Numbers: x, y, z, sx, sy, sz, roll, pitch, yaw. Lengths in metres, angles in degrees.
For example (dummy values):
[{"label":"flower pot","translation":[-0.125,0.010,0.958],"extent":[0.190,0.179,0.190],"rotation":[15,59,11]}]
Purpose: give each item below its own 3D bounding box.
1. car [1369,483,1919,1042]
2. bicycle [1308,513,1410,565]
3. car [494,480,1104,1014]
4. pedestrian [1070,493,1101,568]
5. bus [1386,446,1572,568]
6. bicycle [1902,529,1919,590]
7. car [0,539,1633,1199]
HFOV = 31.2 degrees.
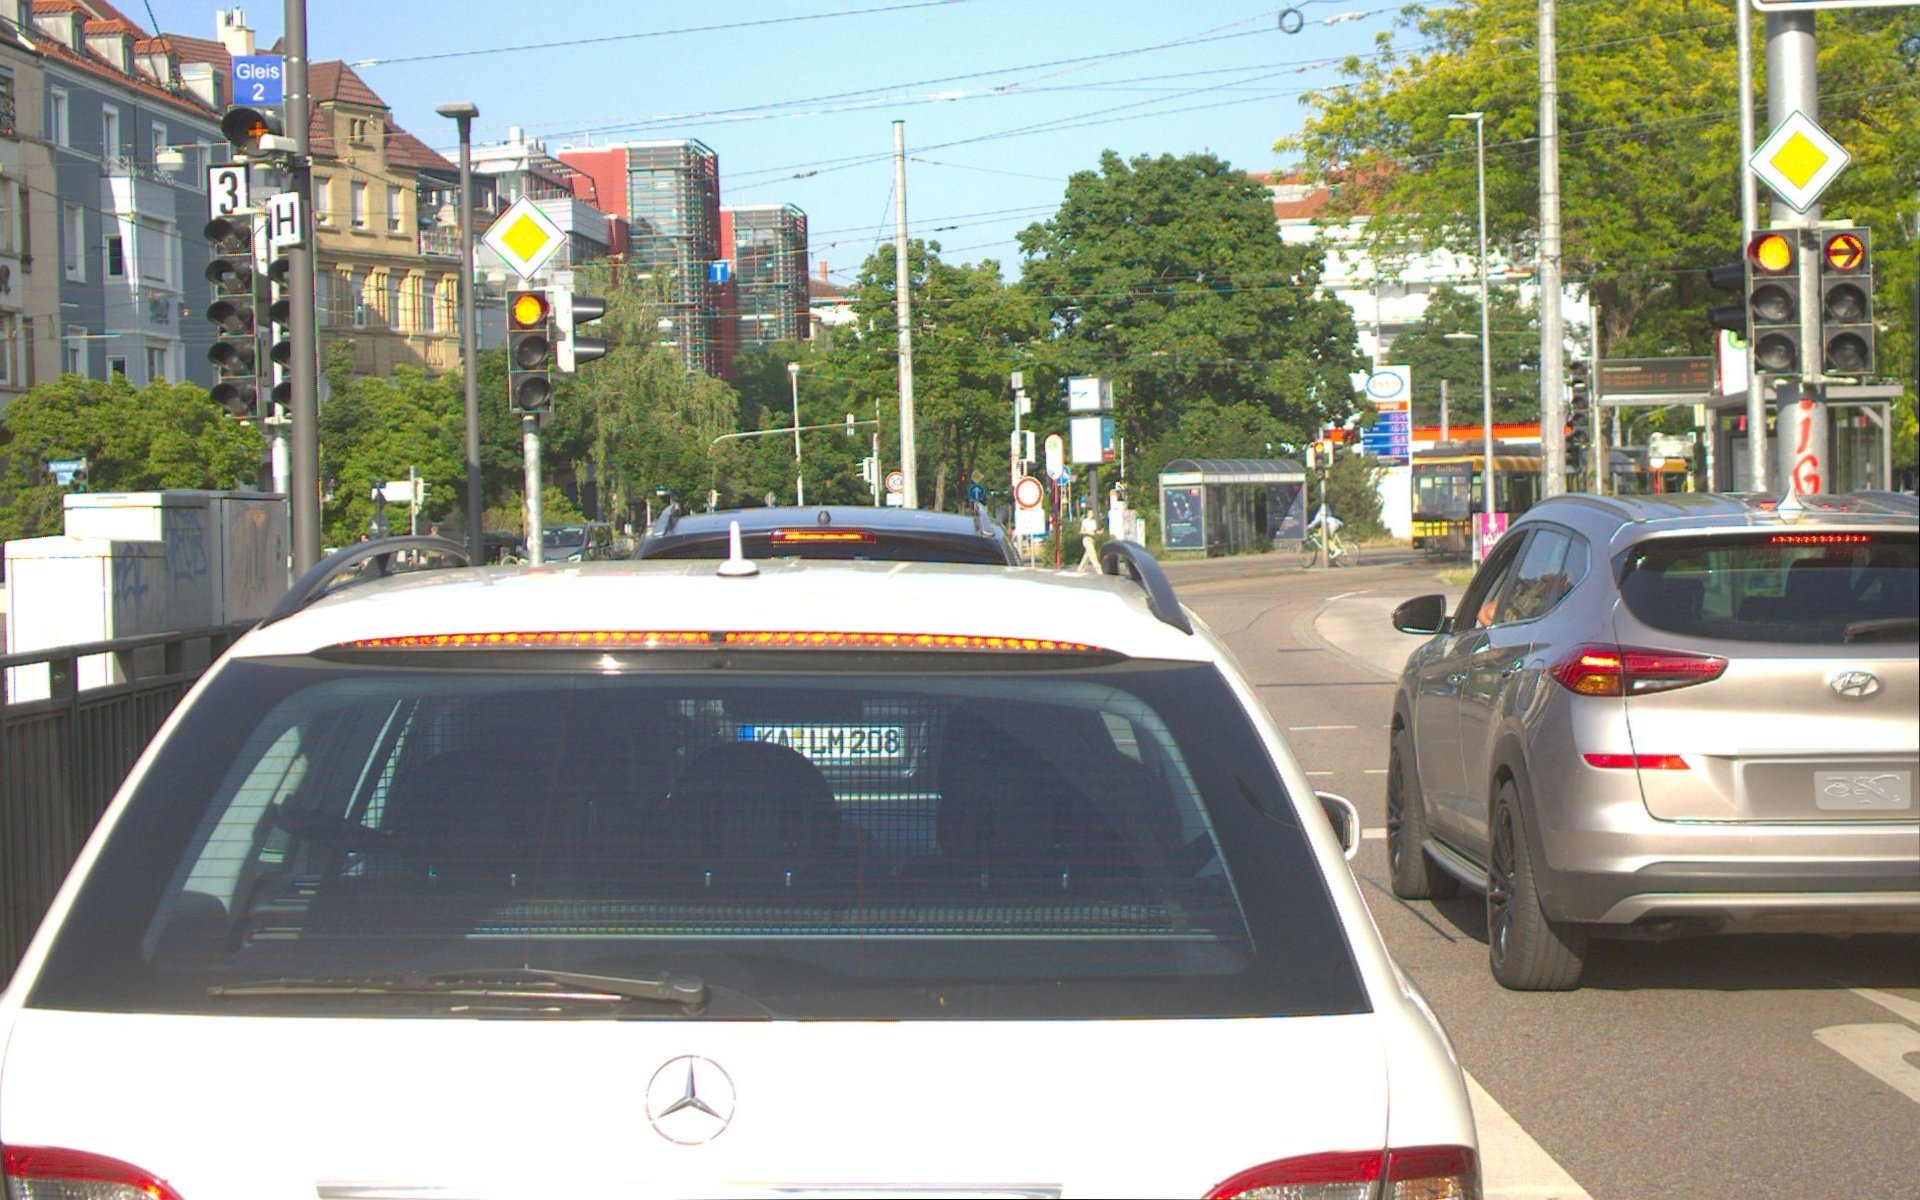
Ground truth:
[{"label":"car","translation":[2.642,0.440,12.159],"extent":[1.885,1.645,3.648],"rotation":[-2,1,0]},{"label":"bicycle","translation":[9.888,-1.519,85.149],"extent":[2.483,1.209,0.806],"rotation":[-1,1,8]},{"label":"car","translation":[-0.518,0.422,12.566],"extent":[1.885,1.645,3.648],"rotation":[1,1,0]},{"label":"pedestrian","translation":[3.140,-1.739,86.122],"extent":[0.642,1.850,0.551],"rotation":[-1,1,11]},{"label":"bus","translation":[16.463,-2.827,108.061],"extent":[3.112,3.593,12.361],"rotation":[1,1,21]},{"label":"bicycle","translation":[12.221,-0.503,42.521],"extent":[0.495,0.754,2.169],"rotation":[-3,1,0]},{"label":"car","translation":[-0.311,0.651,4.975],"extent":[1.796,1.465,3.648],"rotation":[0,1,-1]}]
